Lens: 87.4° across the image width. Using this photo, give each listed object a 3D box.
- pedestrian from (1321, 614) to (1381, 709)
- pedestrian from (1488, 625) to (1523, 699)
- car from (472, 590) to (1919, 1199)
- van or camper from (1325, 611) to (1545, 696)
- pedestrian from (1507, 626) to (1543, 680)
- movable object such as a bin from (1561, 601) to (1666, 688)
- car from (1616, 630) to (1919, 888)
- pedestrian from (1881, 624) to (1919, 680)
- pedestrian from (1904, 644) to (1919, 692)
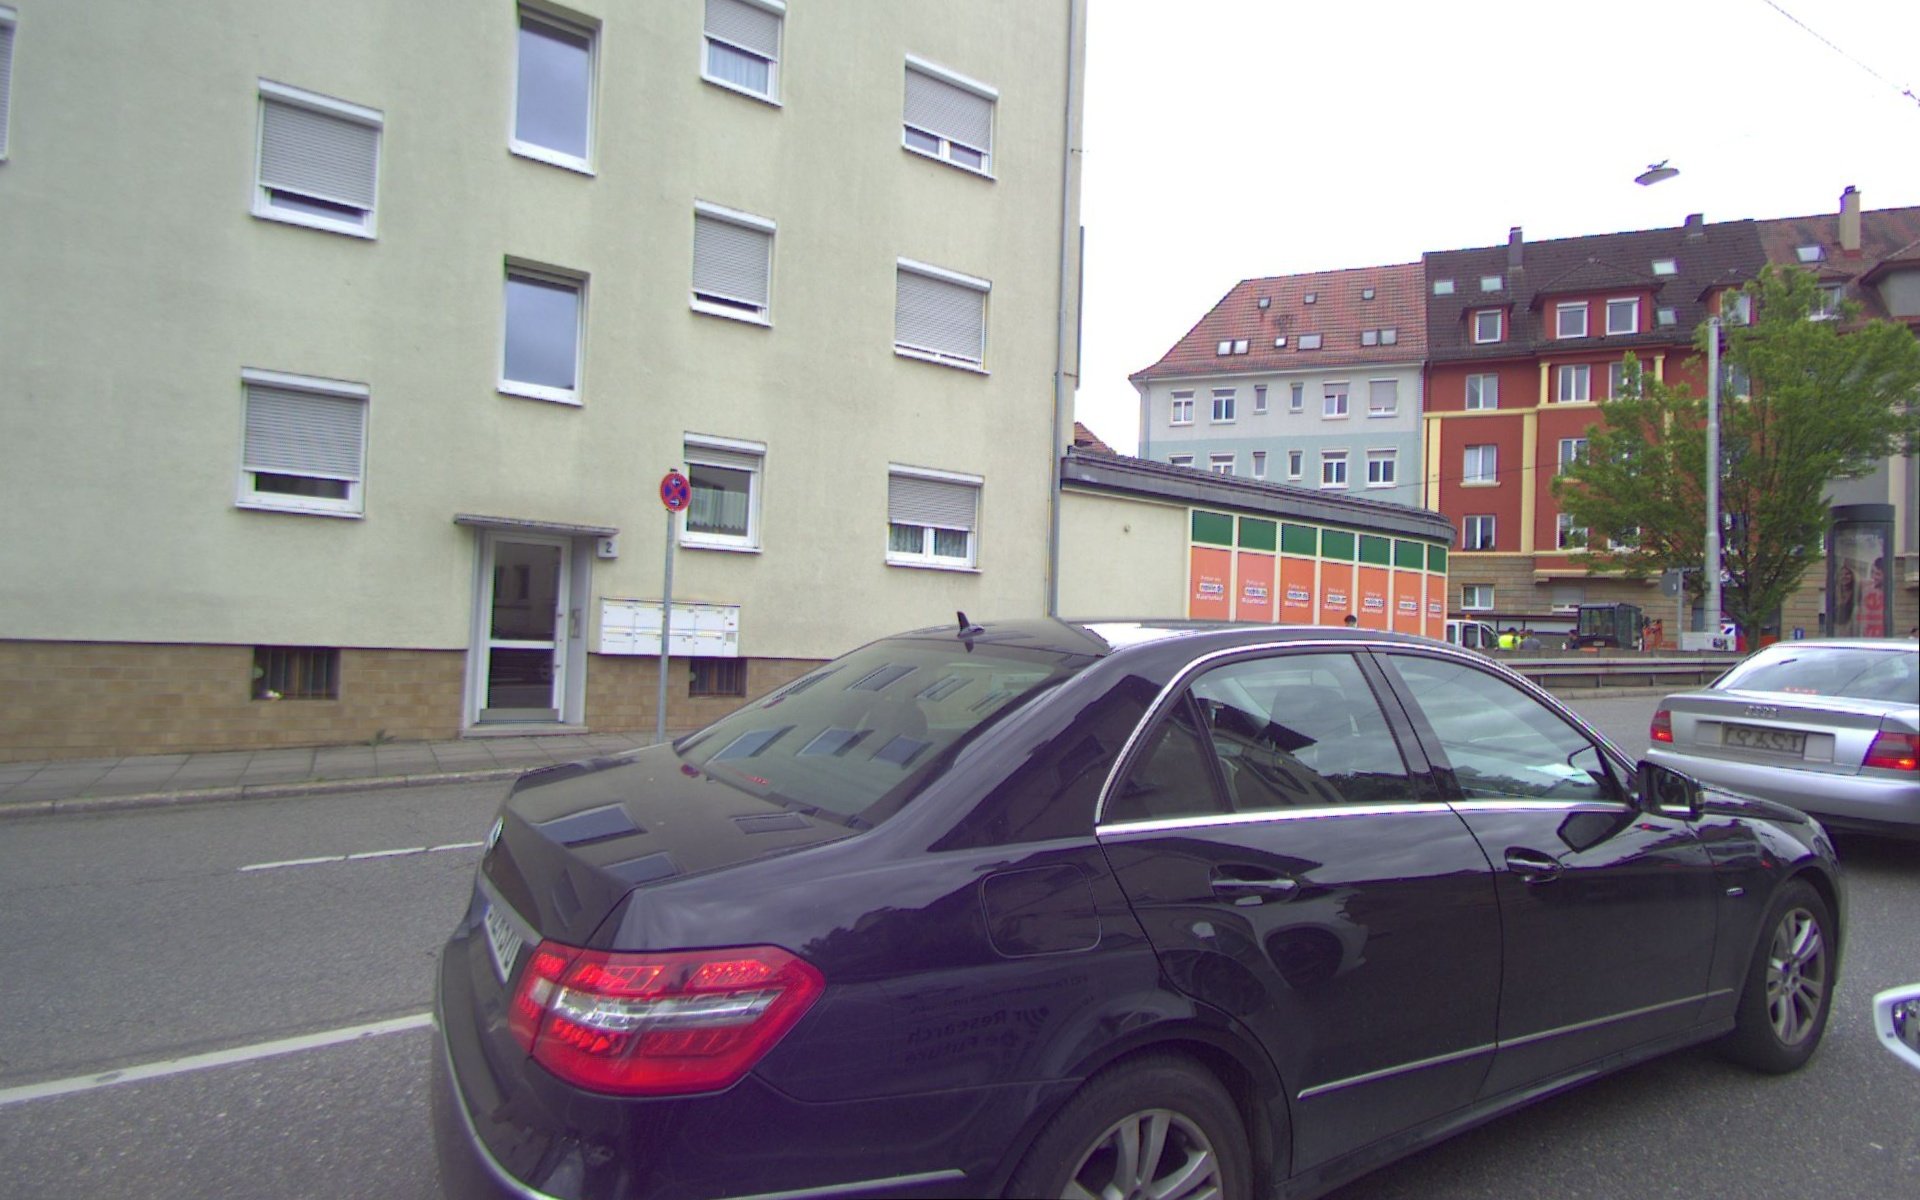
[{"bbox_3d":[7.049,1.094,18.108,0.771,1.658,0.684,1,-1,-33],"label":"pedestrian"},{"bbox_3d":[15.489,1.751,28.536,0.811,2.040,0.679,0,0,27],"label":"pedestrian"},{"bbox_3d":[1.080,0.776,3.391,4.785,1.447,1.984,1,-2,-30],"label":"car"},{"bbox_3d":[14.539,1.561,31.027,5.894,2.369,2.686,0,-1,26],"label":"van or camper"},{"bbox_3d":[14.688,1.375,26.112,0.613,1.381,0.602,0,-1,4],"label":"pedestrian"},{"bbox_3d":[16.558,1.099,25.390,3.510,2.040,1.363,2,-2,-42],"label":"movable object such as a bin"},{"bbox_3d":[6.672,0.917,7.058,4.073,1.383,1.623,1,-2,-26],"label":"car"},{"bbox_3d":[26.823,1.472,28.466,0.724,1.567,0.794,0,-1,-3],"label":"pedestrian"},{"bbox_3d":[27.489,1.936,28.669,0.572,1.356,0.576,0,-1,10],"label":"pedestrian"}]
